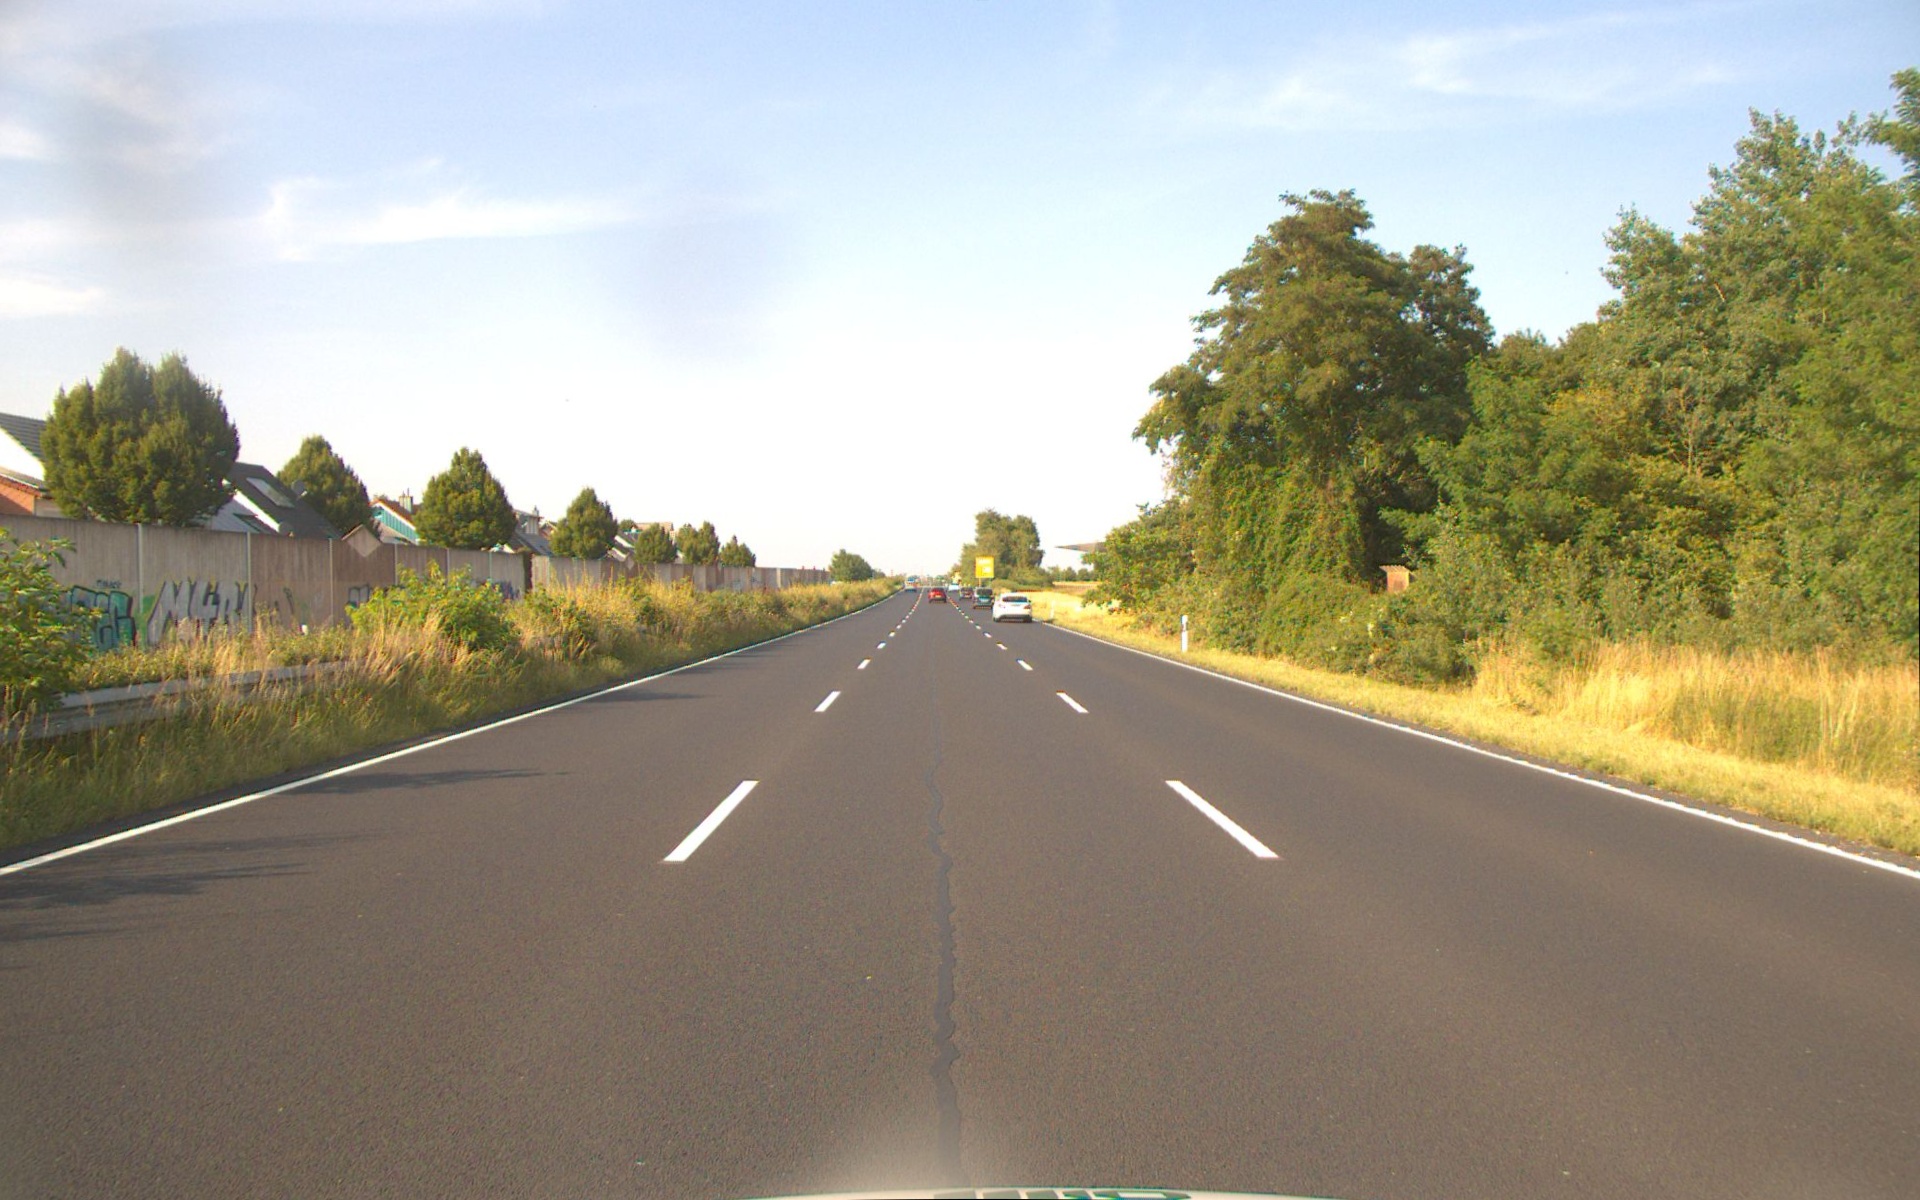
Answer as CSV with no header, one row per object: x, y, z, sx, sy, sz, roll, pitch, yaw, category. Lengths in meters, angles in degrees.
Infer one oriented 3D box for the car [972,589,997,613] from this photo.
1.897,0.084,128.498,1.791,1.758,3.999,1,0,-1,car

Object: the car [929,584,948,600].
-2.121,-0.798,160.353,1.775,1.461,3.857,1,0,-2,car

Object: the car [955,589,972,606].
0.353,-0.284,177.034,1.797,1.747,3.861,1,0,-1,car

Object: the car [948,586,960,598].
-0.859,-1.166,252.580,1.809,1.780,3.999,1,0,-1,car

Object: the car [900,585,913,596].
-8.183,-1.440,251.654,1.953,1.747,3.999,1,0,-1,car

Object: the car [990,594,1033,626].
2.566,0.512,83.598,1.953,1.543,3.999,1,0,-1,car
